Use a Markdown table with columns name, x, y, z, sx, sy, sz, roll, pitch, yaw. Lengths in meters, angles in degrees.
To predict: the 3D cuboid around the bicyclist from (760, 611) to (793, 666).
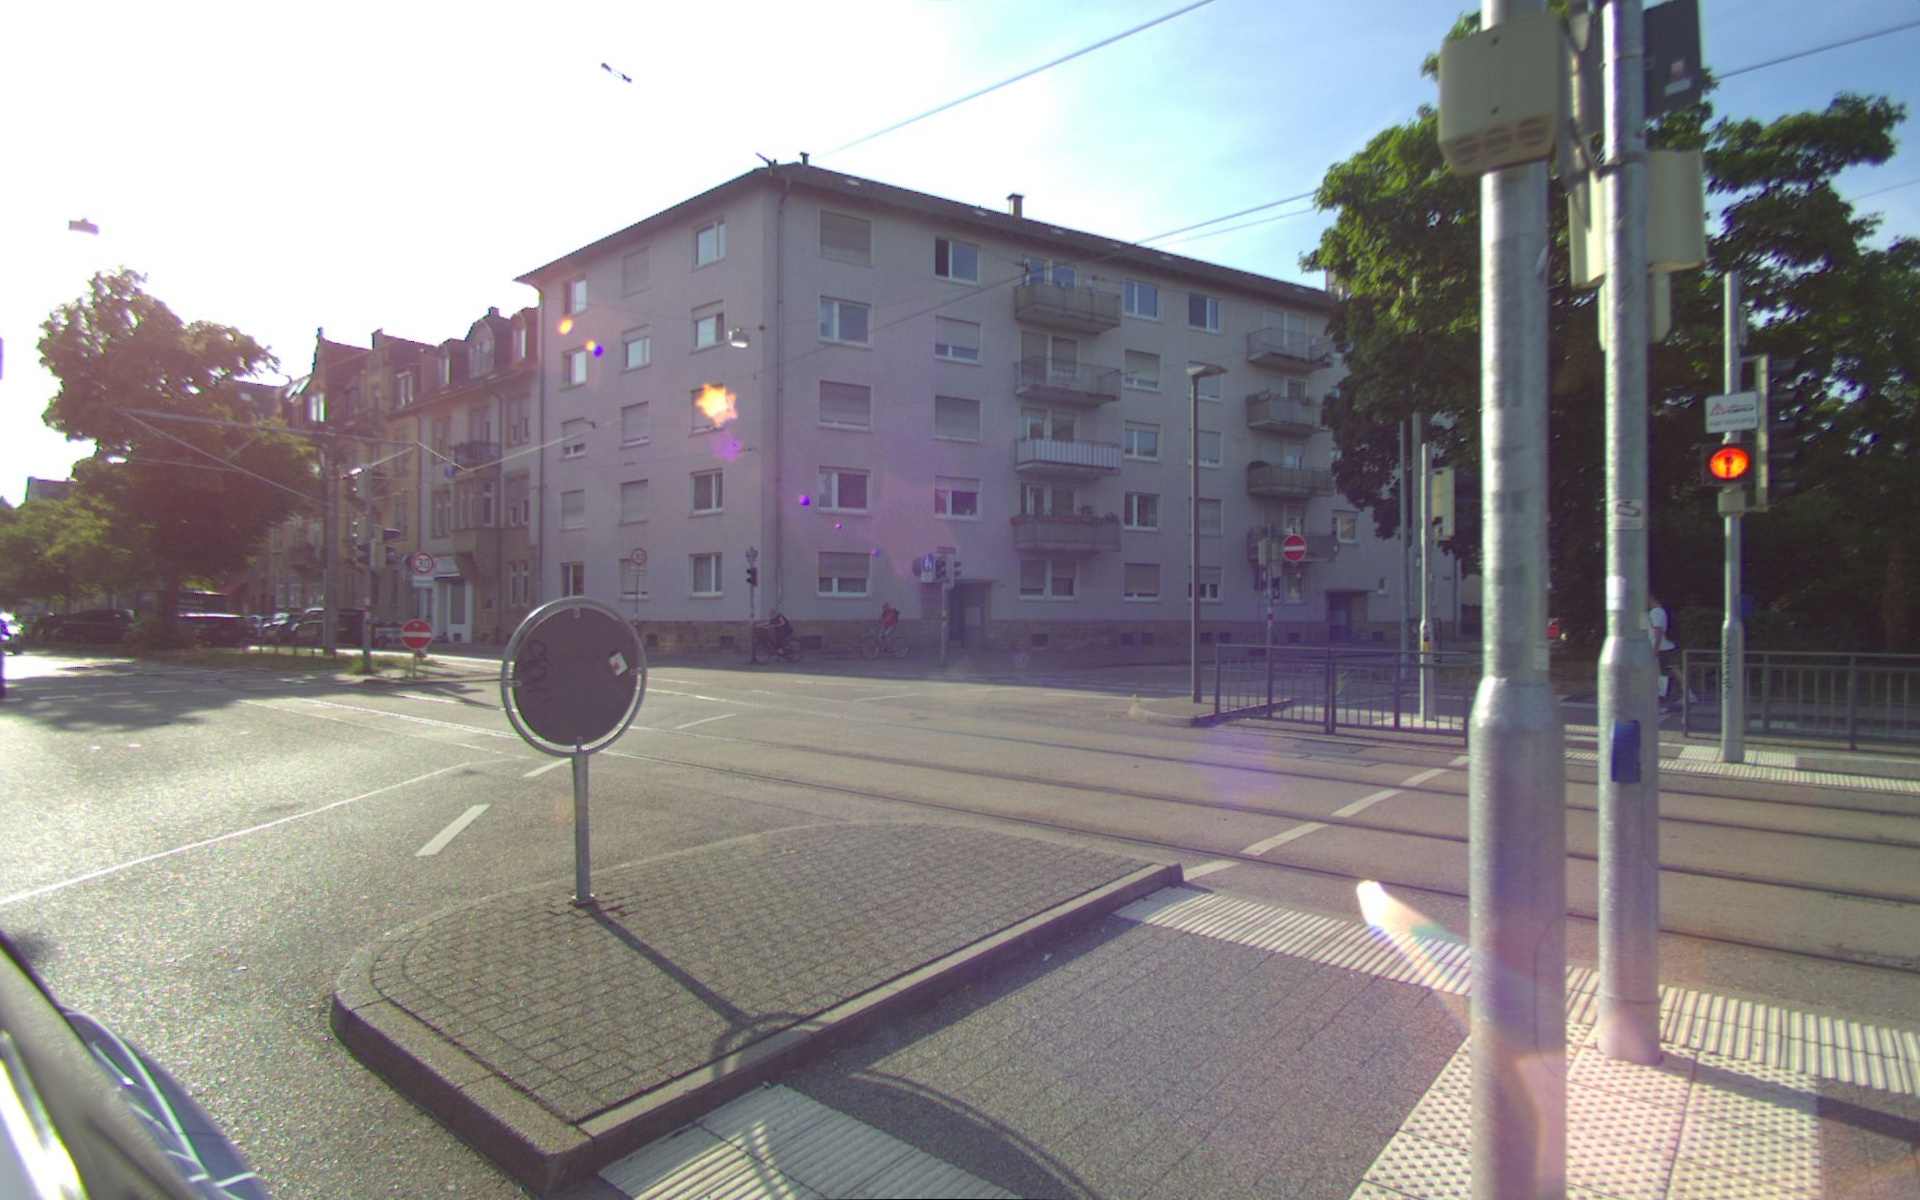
| name | x | y | z | sx | sy | sz | roll | pitch | yaw |
| --- | --- | --- | --- | --- | --- | --- | --- | --- | --- |
| bicyclist | -5.556 | 1.154 | 30.653 | 0.760 | 1.655 | 0.797 | 1 | -2 | -30 |

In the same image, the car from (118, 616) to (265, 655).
| name | x | y | z | sx | sy | sz | roll | pitch | yaw |
| --- | --- | --- | --- | --- | --- | --- | --- | --- | --- |
| car | -27.841 | 1.280 | 36.784 | 3.887 | 1.370 | 1.677 | 0 | -1 | -14 |

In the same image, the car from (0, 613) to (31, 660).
| name | x | y | z | sx | sy | sz | roll | pitch | yaw |
| --- | --- | --- | --- | --- | --- | --- | --- | --- | --- |
| car | -34.629 | 1.300 | 36.128 | 4.002 | 1.586 | 1.971 | -2 | -1 | 45 |

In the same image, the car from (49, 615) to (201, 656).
| name | x | y | z | sx | sy | sz | roll | pitch | yaw |
| --- | --- | --- | --- | --- | --- | --- | --- | --- | --- |
| car | -36.372 | 1.540 | 44.204 | 4.643 | 1.703 | 2.176 | 0 | -1 | -8 |

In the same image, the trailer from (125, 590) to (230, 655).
| name | x | y | z | sx | sy | sz | roll | pitch | yaw |
| --- | --- | --- | --- | --- | --- | --- | --- | --- | --- |
| trailer | -30.211 | 0.858 | 39.153 | 2.817 | 2.410 | 1.728 | -1 | -1 | -18 |

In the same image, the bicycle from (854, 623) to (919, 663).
| name | x | y | z | sx | sy | sz | roll | pitch | yaw |
| --- | --- | --- | --- | --- | --- | --- | --- | --- | --- |
| bicycle | -2.371 | 1.380 | 32.737 | 1.946 | 1.212 | 0.737 | -1 | -1 | -29 |

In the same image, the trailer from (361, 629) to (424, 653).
| name | x | y | z | sx | sy | sz | roll | pitch | yaw |
| --- | --- | --- | --- | --- | --- | --- | --- | --- | --- |
| trailer | -24.771 | 1.773 | 44.154 | 2.878 | 0.903 | 1.426 | -2 | 3 | 41 |

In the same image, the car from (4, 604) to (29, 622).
| name | x | y | z | sx | sy | sz | roll | pitch | yaw |
| --- | --- | --- | --- | --- | --- | --- | --- | --- | --- |
| car | -111.822 | 1.555 | 119.923 | 4.001 | 2.029 | 1.971 | -2 | -1 | 44 |

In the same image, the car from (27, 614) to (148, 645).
| name | x | y | z | sx | sy | sz | roll | pitch | yaw |
| --- | --- | --- | --- | --- | --- | --- | --- | --- | --- |
| car | -43.689 | 1.444 | 50.770 | 4.238 | 1.433 | 1.963 | -1 | -1 | -8 |

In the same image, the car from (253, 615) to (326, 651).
| name | x | y | z | sx | sy | sz | roll | pitch | yaw |
| --- | --- | --- | --- | --- | --- | --- | --- | --- | --- |
| car | -34.945 | 1.703 | 52.697 | 4.610 | 1.763 | 2.142 | -2 | -1 | 43 |

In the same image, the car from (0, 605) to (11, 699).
| name | x | y | z | sx | sy | sz | roll | pitch | yaw |
| --- | --- | --- | --- | --- | --- | --- | --- | --- | --- |
| car | -17.177 | 0.851 | 16.758 | 3.999 | 1.492 | 1.815 | -2 | -2 | 42 |

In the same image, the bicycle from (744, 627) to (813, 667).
| name | x | y | z | sx | sy | sz | roll | pitch | yaw |
| --- | --- | --- | --- | --- | --- | --- | --- | --- | --- |
| bicycle | -5.501 | 1.416 | 30.681 | 1.884 | 1.119 | 0.737 | -1 | -2 | -29 |

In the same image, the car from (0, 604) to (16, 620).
| name | x | y | z | sx | sy | sz | roll | pitch | yaw |
| --- | --- | --- | --- | --- | --- | --- | --- | --- | --- |
| car | -121.313 | 1.559 | 128.221 | 3.996 | 2.029 | 1.974 | -2 | -1 | 40 |

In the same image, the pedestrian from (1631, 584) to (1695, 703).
| name | x | y | z | sx | sy | sz | roll | pitch | yaw |
| --- | --- | --- | --- | --- | --- | --- | --- | --- | --- |
| pedestrian | 11.747 | 0.718 | 16.940 | 0.705 | 1.924 | 0.996 | -1 | -1 | 27 |

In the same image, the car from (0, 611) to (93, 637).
| name | x | y | z | sx | sy | sz | roll | pitch | yaw |
| --- | --- | --- | --- | --- | --- | --- | --- | --- | --- |
| car | -54.551 | 1.430 | 60.067 | 4.204 | 1.433 | 2.176 | -1 | -1 | -8 |

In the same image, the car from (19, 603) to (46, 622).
| name | x | y | z | sx | sy | sz | roll | pitch | yaw |
| --- | --- | --- | --- | --- | --- | --- | --- | --- | --- |
| car | -103.218 | 1.382 | 112.623 | 4.001 | 2.029 | 1.971 | -2 | -1 | 44 |

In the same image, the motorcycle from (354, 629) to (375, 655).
| name | x | y | z | sx | sy | sz | roll | pitch | yaw |
| --- | --- | --- | --- | --- | --- | --- | --- | --- | --- |
| motorcycle | -26.913 | 1.889 | 45.747 | 0.626 | 1.088 | 1.739 | -1 | -1 | -25 |

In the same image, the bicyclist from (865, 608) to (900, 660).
| name | x | y | z | sx | sy | sz | roll | pitch | yaw |
| --- | --- | --- | --- | --- | --- | --- | --- | --- | --- |
| bicyclist | -2.498 | 1.085 | 32.614 | 0.839 | 1.655 | 0.816 | -1 | -1 | -30 |

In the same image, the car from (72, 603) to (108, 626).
| name | x | y | z | sx | sy | sz | roll | pitch | yaw |
| --- | --- | --- | --- | --- | --- | --- | --- | --- | --- |
| car | -79.670 | 1.373 | 92.682 | 3.998 | 2.029 | 1.973 | -2 | -1 | 41 |

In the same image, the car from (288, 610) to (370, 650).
| name | x | y | z | sx | sy | sz | roll | pitch | yaw |
| --- | --- | --- | --- | --- | --- | --- | --- | --- | --- |
| car | -30.028 | 1.403 | 48.085 | 4.717 | 1.763 | 2.141 | -2 | -1 | 43 |

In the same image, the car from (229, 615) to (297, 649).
| name | x | y | z | sx | sy | sz | roll | pitch | yaw |
| --- | --- | --- | --- | --- | --- | --- | --- | --- | --- |
| car | -38.761 | 1.756 | 56.232 | 4.610 | 1.763 | 2.142 | -2 | -1 | 43 |

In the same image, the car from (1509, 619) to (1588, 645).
| name | x | y | z | sx | sy | sz | roll | pitch | yaw |
| --- | --- | --- | --- | --- | --- | --- | --- | --- | --- |
| car | 38.592 | 2.088 | 66.495 | 1.966 | 1.657 | 4.012 | -1 | -1 | -30 |
